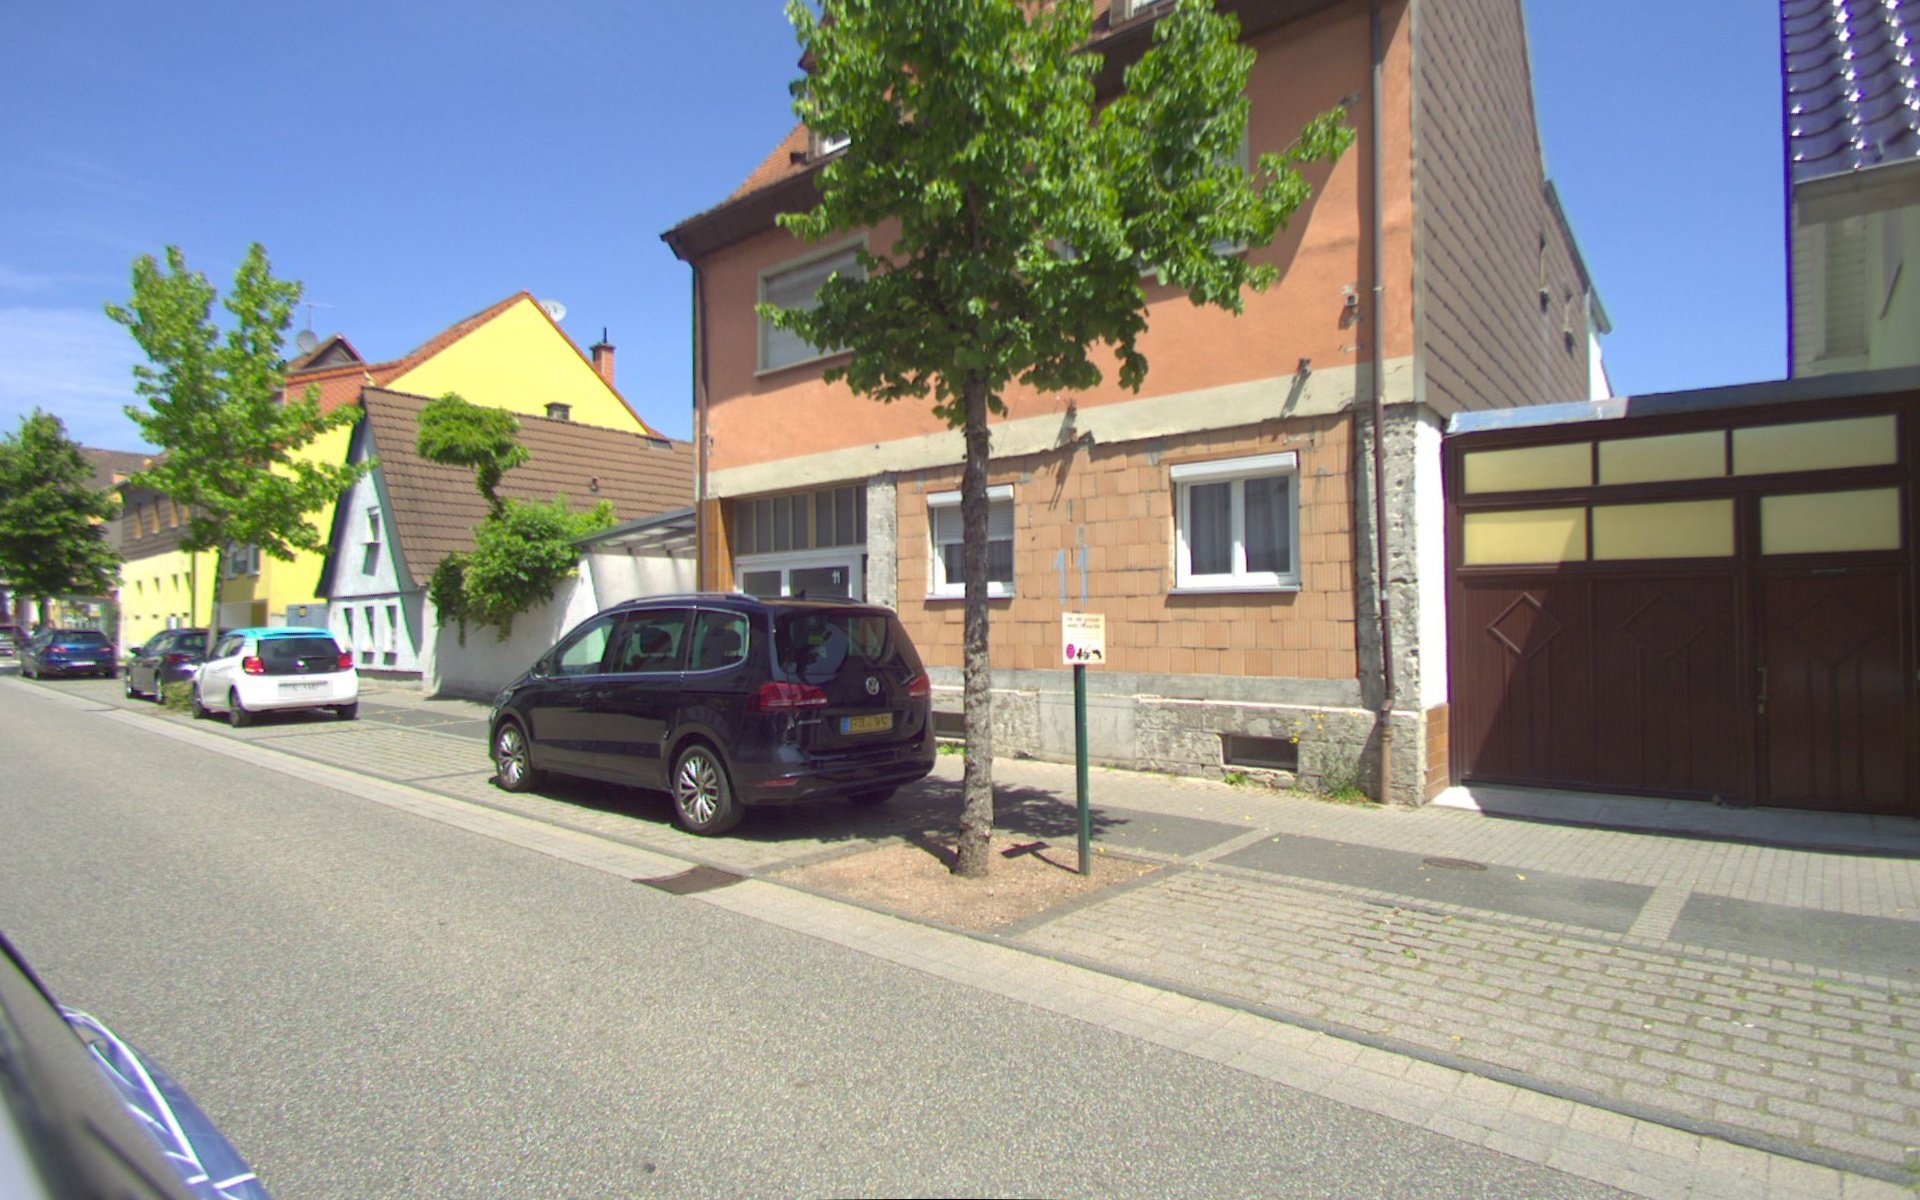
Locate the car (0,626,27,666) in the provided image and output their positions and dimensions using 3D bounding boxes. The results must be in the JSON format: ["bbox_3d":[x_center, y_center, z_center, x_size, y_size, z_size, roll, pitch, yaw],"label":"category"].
[{"bbox_3d":[-39.916,1.894,41.707,4.156,1.587,1.730,-2,-2,42],"label":"car"}]

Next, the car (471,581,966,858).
[{"bbox_3d":[-2.228,0.821,8.518,4.517,1.739,1.757,-2,-2,41],"label":"car"}]

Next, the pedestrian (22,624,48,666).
[{"bbox_3d":[-36.753,1.786,40.226,0.770,1.614,0.655,-2,-3,42],"label":"pedestrian"}]

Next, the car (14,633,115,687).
[{"bbox_3d":[-25.526,1.651,28.812,4.156,1.418,1.639,-2,-3,42],"label":"car"}]

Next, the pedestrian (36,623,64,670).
[{"bbox_3d":[-31.659,1.604,35.217,0.528,1.614,0.623,-2,-3,41],"label":"pedestrian"}]

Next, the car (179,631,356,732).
[{"bbox_3d":[-11.138,1.232,16.212,3.408,1.441,1.537,-2,-3,41],"label":"car"}]

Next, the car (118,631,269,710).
[{"bbox_3d":[-15.614,1.367,20.537,4.097,1.441,1.628,-2,-4,41],"label":"car"}]

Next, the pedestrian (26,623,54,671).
[{"bbox_3d":[-31.259,1.583,34.376,0.528,1.614,0.623,-2,-3,41],"label":"pedestrian"}]
